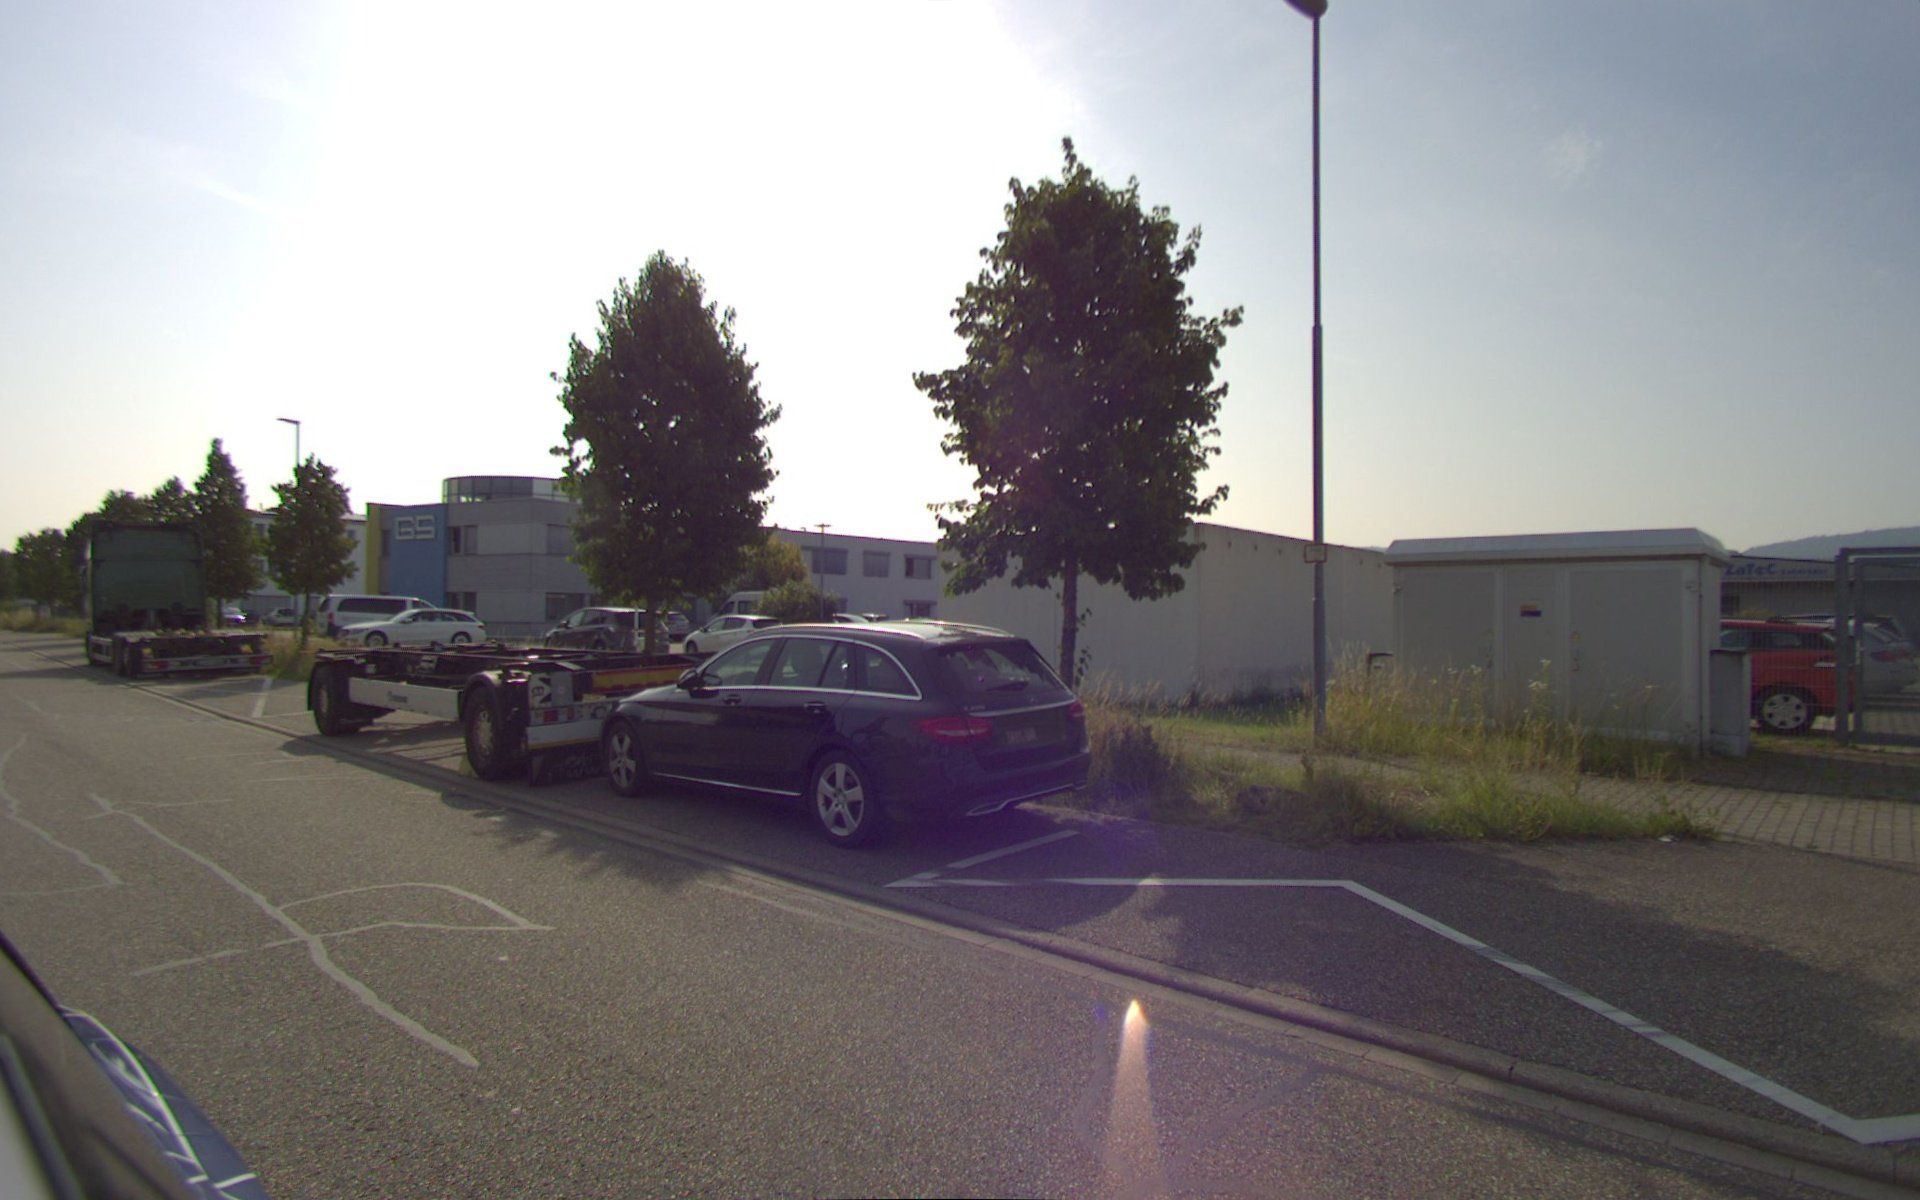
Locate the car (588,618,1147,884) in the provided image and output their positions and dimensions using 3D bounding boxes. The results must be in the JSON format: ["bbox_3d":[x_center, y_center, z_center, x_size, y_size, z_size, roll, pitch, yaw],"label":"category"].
[{"bbox_3d":[-0.953,0.907,8.026,4.432,1.478,1.972,-1,0,43],"label":"car"}]

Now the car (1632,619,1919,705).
[{"bbox_3d":[16.041,1.162,19.887,4.476,1.506,1.914,-2,-2,42],"label":"car"}]

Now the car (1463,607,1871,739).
[{"bbox_3d":[9.404,0.924,13.800,4.297,1.537,1.754,-2,-2,37],"label":"car"}]

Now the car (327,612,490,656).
[{"bbox_3d":[-19.499,1.180,35.922,1.999,1.442,4.677,-1,-1,41],"label":"car"}]

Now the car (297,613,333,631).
[{"bbox_3d":[-54.504,1.872,85.500,3.919,1.479,1.735,-1,-2,44],"label":"car"}]

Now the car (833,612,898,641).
[{"bbox_3d":[-5.888,1.603,62.924,3.999,1.724,1.809,0,-1,42],"label":"car"}]

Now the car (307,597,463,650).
[{"bbox_3d":[-21.410,0.883,37.817,2.103,1.850,4.653,-1,-2,42],"label":"car"}]

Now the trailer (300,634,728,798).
[{"bbox_3d":[-5.569,1.083,11.770,7.160,1.242,2.106,-1,0,45],"label":"trailer"}]

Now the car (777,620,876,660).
[{"bbox_3d":[-5.530,1.618,41.710,4.211,1.527,1.687,0,-2,41],"label":"car"}]

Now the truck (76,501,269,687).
[{"bbox_3d":[-20.068,-0.160,25.488,9.805,3.911,2.428,0,1,44],"label":"truck"}]

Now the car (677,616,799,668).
[{"bbox_3d":[-7.244,1.331,32.852,4.211,1.527,1.687,0,-2,41],"label":"car"}]

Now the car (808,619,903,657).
[{"bbox_3d":[-4.565,1.617,43.878,4.211,1.527,1.687,0,-2,41],"label":"car"}]

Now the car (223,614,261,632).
[{"bbox_3d":[-58.104,1.846,81.888,3.919,1.479,1.735,-1,-2,44],"label":"car"}]

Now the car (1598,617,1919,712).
[{"bbox_3d":[14.156,1.084,18.034,4.476,1.506,1.813,-2,-2,42],"label":"car"}]

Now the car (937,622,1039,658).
[{"bbox_3d":[1.207,1.688,43.446,3.975,1.453,1.886,0,-1,24],"label":"car"}]

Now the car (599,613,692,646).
[{"bbox_3d":[-15.376,1.425,49.437,4.502,1.492,1.565,1,-1,27],"label":"car"}]

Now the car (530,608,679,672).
[{"bbox_3d":[-10.293,1.102,29.158,4.696,1.699,1.973,-1,-2,41],"label":"car"}]

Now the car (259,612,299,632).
[{"bbox_3d":[-56.312,1.814,83.650,3.919,1.631,1.884,-1,-2,44],"label":"car"}]

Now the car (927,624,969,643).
[{"bbox_3d":[-0.818,2.218,67.614,2.706,1.186,1.078,0,-2,34],"label":"car"}]

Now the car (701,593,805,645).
[{"bbox_3d":[-11.433,1.012,55.702,5.720,2.714,1.696,1,-1,26],"label":"car"}]

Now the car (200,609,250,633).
[{"bbox_3d":[-51.335,1.440,70.628,4.508,1.619,1.921,-1,-2,42],"label":"car"}]
